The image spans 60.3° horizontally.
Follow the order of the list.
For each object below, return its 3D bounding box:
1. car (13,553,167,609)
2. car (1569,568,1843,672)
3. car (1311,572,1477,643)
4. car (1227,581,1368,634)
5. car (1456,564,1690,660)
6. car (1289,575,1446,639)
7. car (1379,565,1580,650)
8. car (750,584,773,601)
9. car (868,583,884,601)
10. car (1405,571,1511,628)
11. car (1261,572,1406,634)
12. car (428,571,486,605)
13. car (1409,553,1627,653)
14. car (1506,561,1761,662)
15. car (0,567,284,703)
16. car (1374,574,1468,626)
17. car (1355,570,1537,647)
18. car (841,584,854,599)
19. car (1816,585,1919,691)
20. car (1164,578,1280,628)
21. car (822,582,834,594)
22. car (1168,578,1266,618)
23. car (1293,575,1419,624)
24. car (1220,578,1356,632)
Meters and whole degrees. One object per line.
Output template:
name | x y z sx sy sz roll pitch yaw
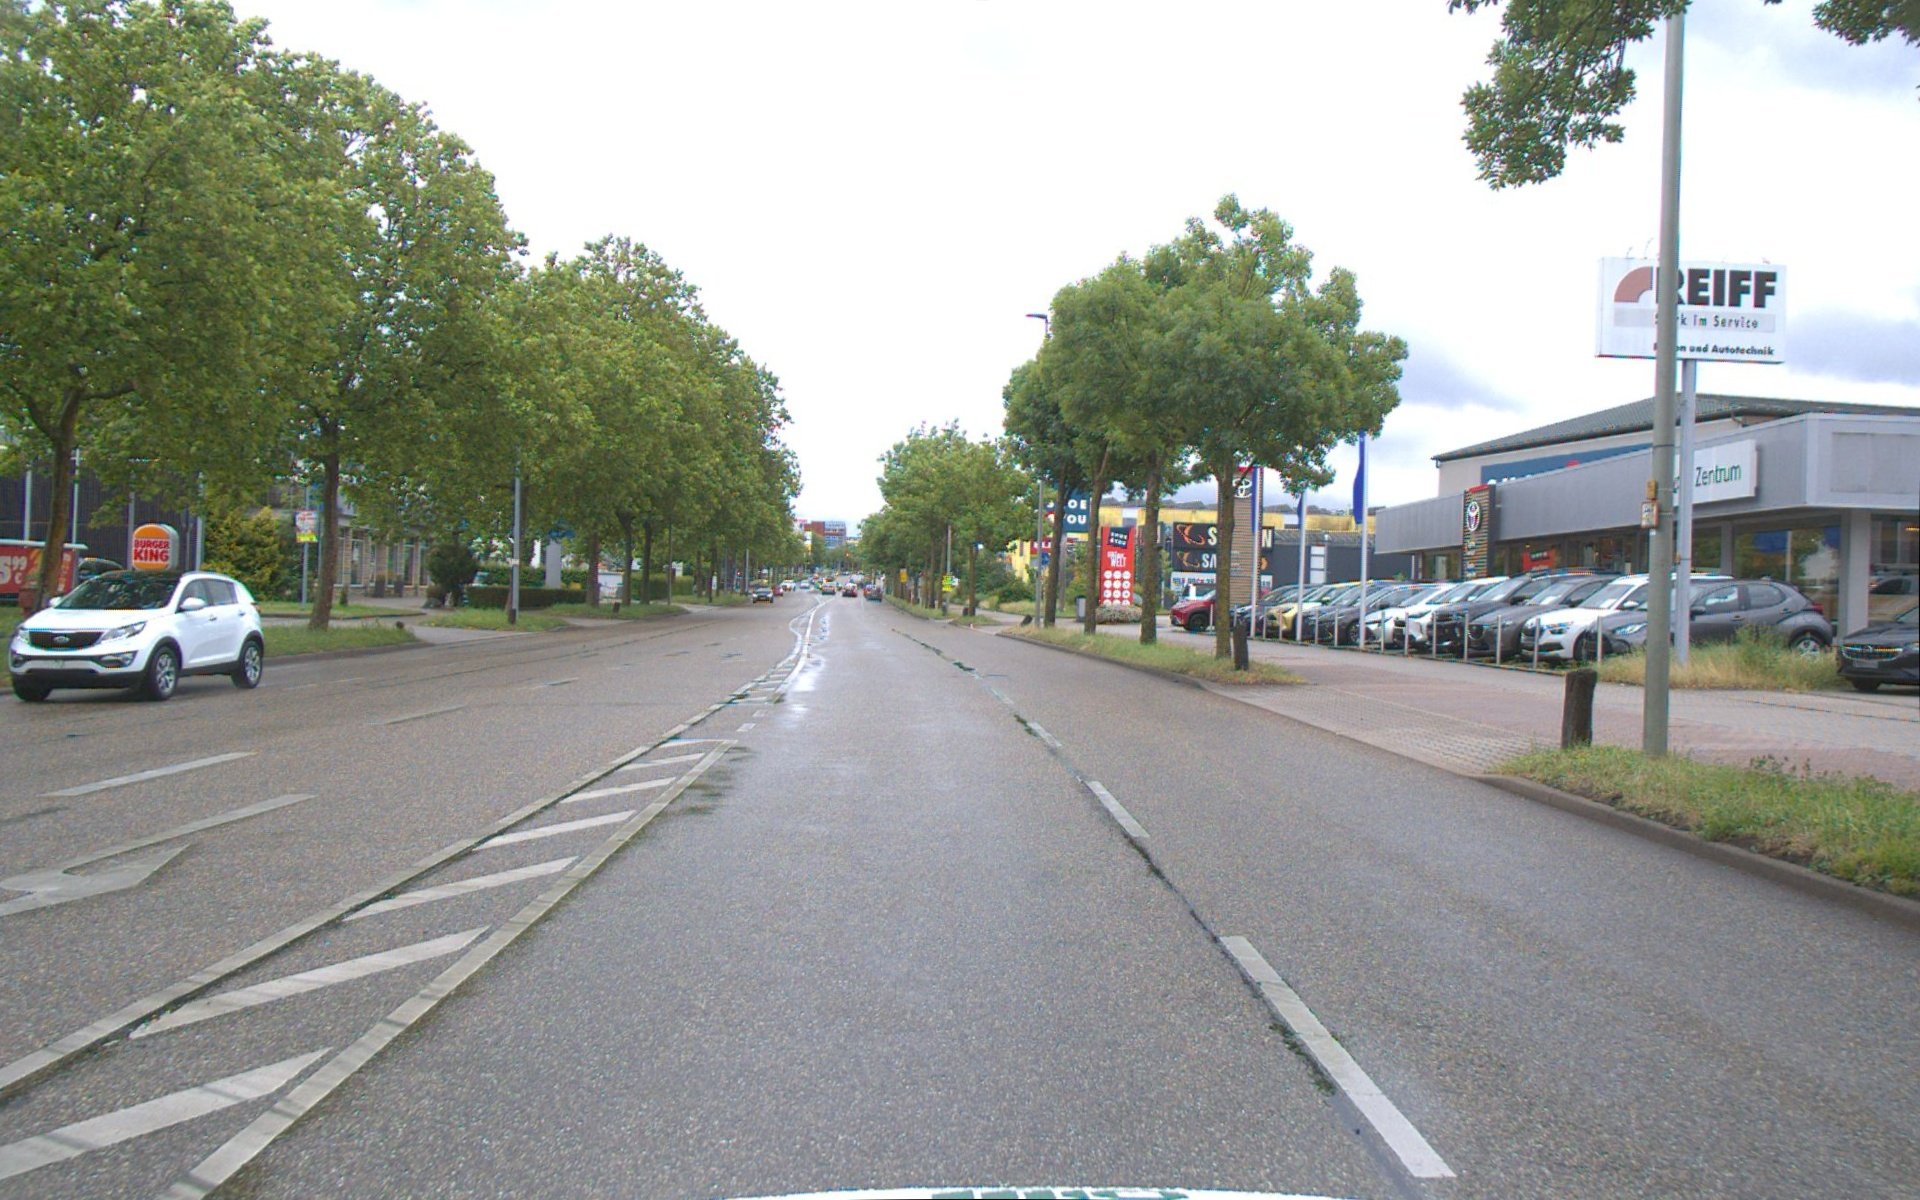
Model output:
car | -21.630 -0.468 41.159 3.109 1.175 1.291 4 1 4
car | 12.525 0.318 27.922 3.758 1.486 1.826 -3 1 -4
car | 11.452 0.188 43.774 3.906 1.818 1.812 0 0 -2
car | 10.322 0.217 50.680 3.908 1.565 1.799 0 0 -4
car | 12.066 0.217 32.718 3.907 1.612 1.812 -3 0 -2
car | 11.348 0.180 46.182 3.906 1.574 1.710 -2 0 -2
car | 11.799 0.145 37.702 3.910 1.615 1.810 -4 1 -5
car | -17.109 -0.641 142.811 1.768 1.488 3.843 0 0 -3
car | -9.575 -0.918 188.194 1.710 2.049 3.998 1 0 -3
car | 15.209 -0.035 50.700 1.837 1.650 4.120 -1 0 -2
car | 10.910 0.083 48.435 3.765 1.593 1.665 -3 0 -6
car | -23.059 -0.564 75.938 1.788 1.512 3.935 1 0 -5
car | 11.743 0.050 34.980 3.907 1.817 1.812 -4 0 -2
car | 12.351 0.203 30.492 3.907 1.570 1.812 -4 0 -2
car | -11.013 0.428 22.416 1.889 1.648 4.398 1 0 0
car | 15.319 -0.025 55.176 1.837 1.650 4.120 -1 0 -2
car | 11.803 0.200 40.355 3.906 1.818 1.812 0 0 -2
car | -15.521 -1.209 227.787 1.710 2.049 3.998 0 0 -3
car | 14.852 0.526 24.406 3.610 1.489 1.790 0 0 -9
car | 9.296 0.091 58.907 3.765 1.631 1.794 -2 0 -3
car | -19.954 -1.848 250.659 1.710 1.730 3.998 1 0 -3
car | 13.609 -0.119 87.728 4.738 2.049 1.983 1 0 -14
car | 14.088 -0.027 58.995 4.024 1.650 1.881 -1 0 0
car | 10.352 0.139 52.358 3.908 1.676 1.844 0 0 -4
